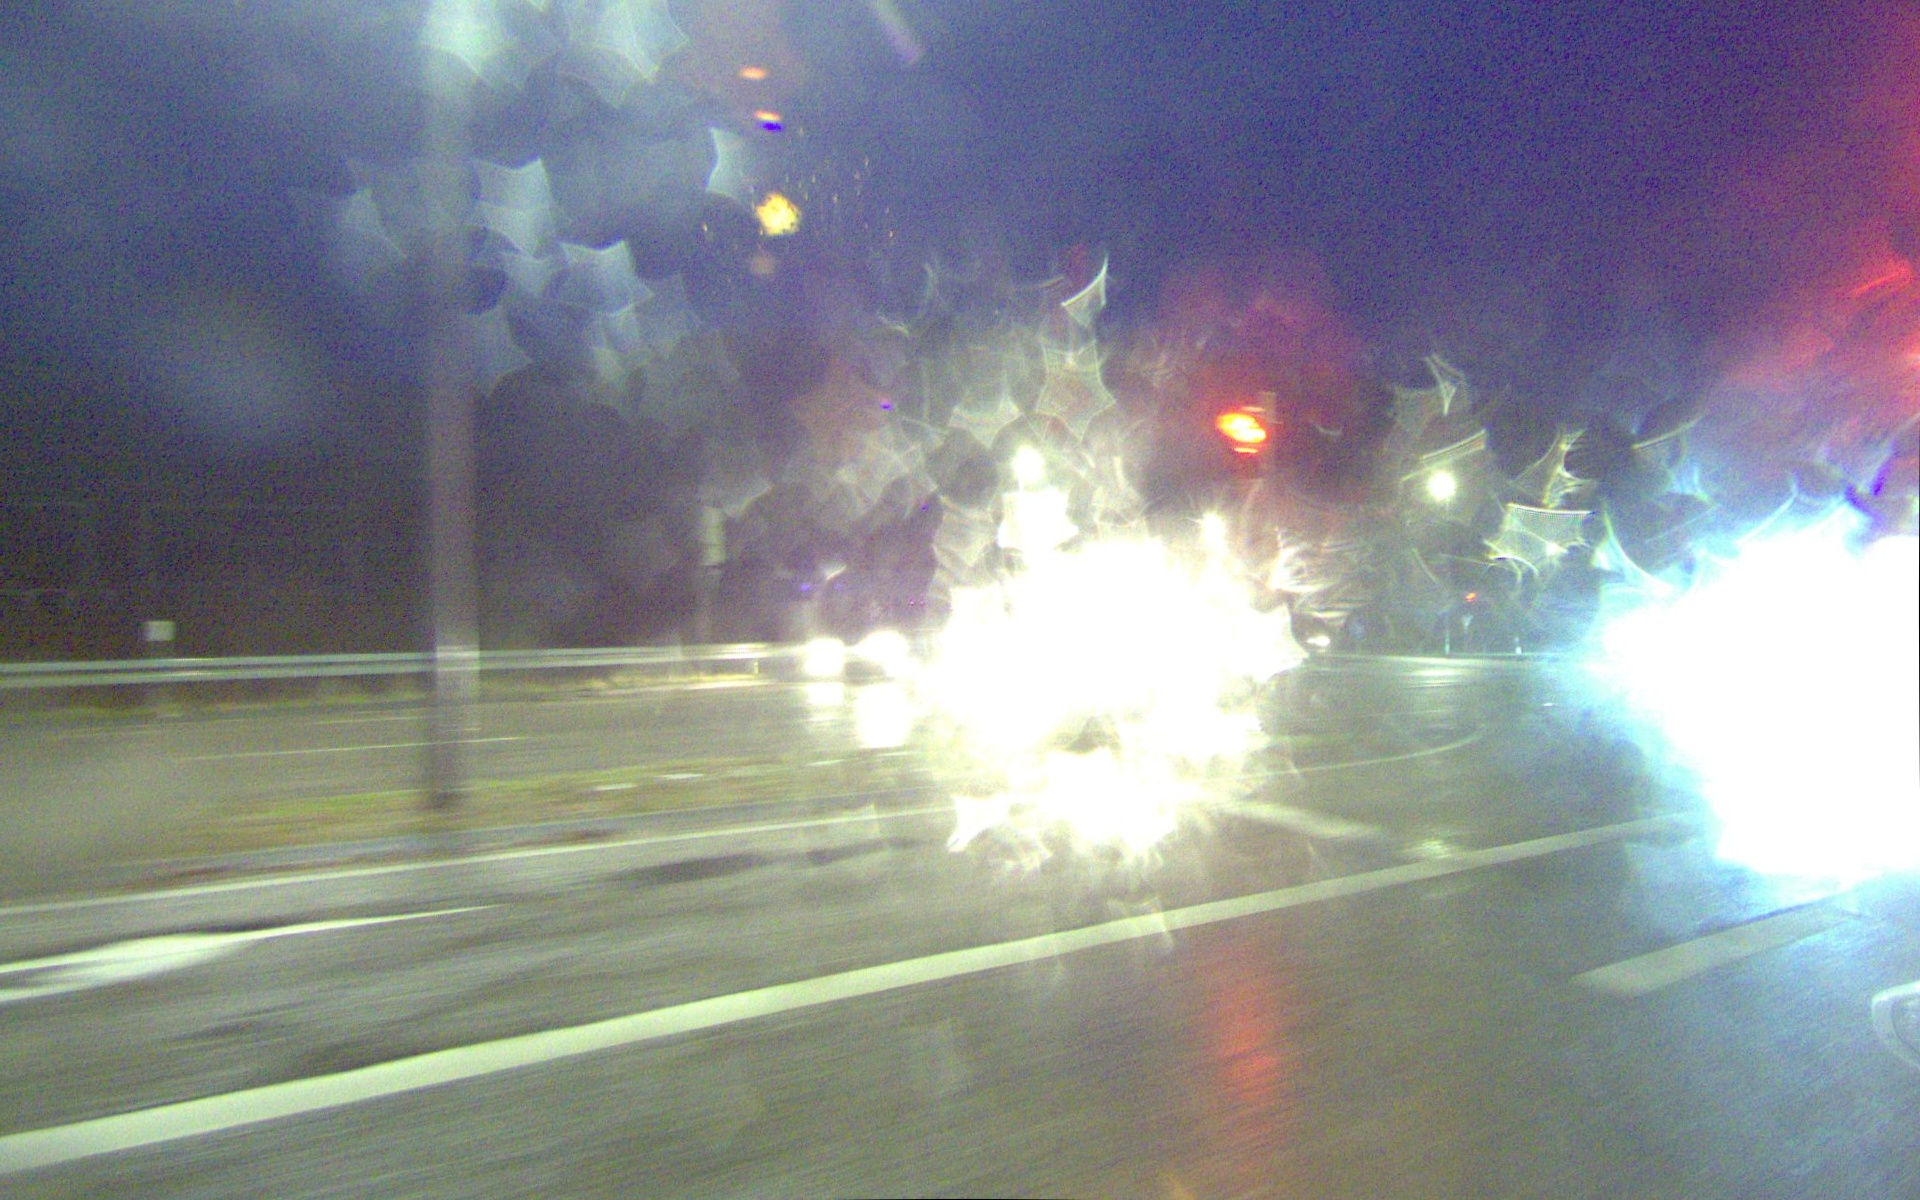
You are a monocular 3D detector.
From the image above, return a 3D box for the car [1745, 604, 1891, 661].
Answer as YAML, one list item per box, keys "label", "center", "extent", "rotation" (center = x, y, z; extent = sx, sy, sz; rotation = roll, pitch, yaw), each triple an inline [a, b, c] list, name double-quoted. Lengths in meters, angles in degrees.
- label: "car"
  center: [25.802, 0.955, 30.154]
  extent: [4.854, 1.592, 1.784]
  rotation: [1, 0, -29]

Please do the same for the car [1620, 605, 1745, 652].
- label: "car"
  center: [29.563, 1.158, 41.238]
  extent: [3.924, 1.856, 1.720]
  rotation: [0, -1, 25]

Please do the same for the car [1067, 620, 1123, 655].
- label: "car"
  center: [6.250, 1.715, 47.054]
  extent: [1.718, 1.523, 4.892]
  rotation: [2, -1, -2]

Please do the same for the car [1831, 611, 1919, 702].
- label: "car"
  center: [19.005, 1.086, 18.506]
  extent: [4.025, 1.632, 1.999]
  rotation: [1, -1, 25]

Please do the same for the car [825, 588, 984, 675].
- label: "car"
  center: [-1.080, 0.677, 22.094]
  extent: [1.680, 1.675, 4.506]
  rotation: [1, -1, 22]

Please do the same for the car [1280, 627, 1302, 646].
- label: "car"
  center: [27.383, 3.074, 83.173]
  extent: [1.626, 1.518, 4.377]
  rotation: [-1, -3, 16]
